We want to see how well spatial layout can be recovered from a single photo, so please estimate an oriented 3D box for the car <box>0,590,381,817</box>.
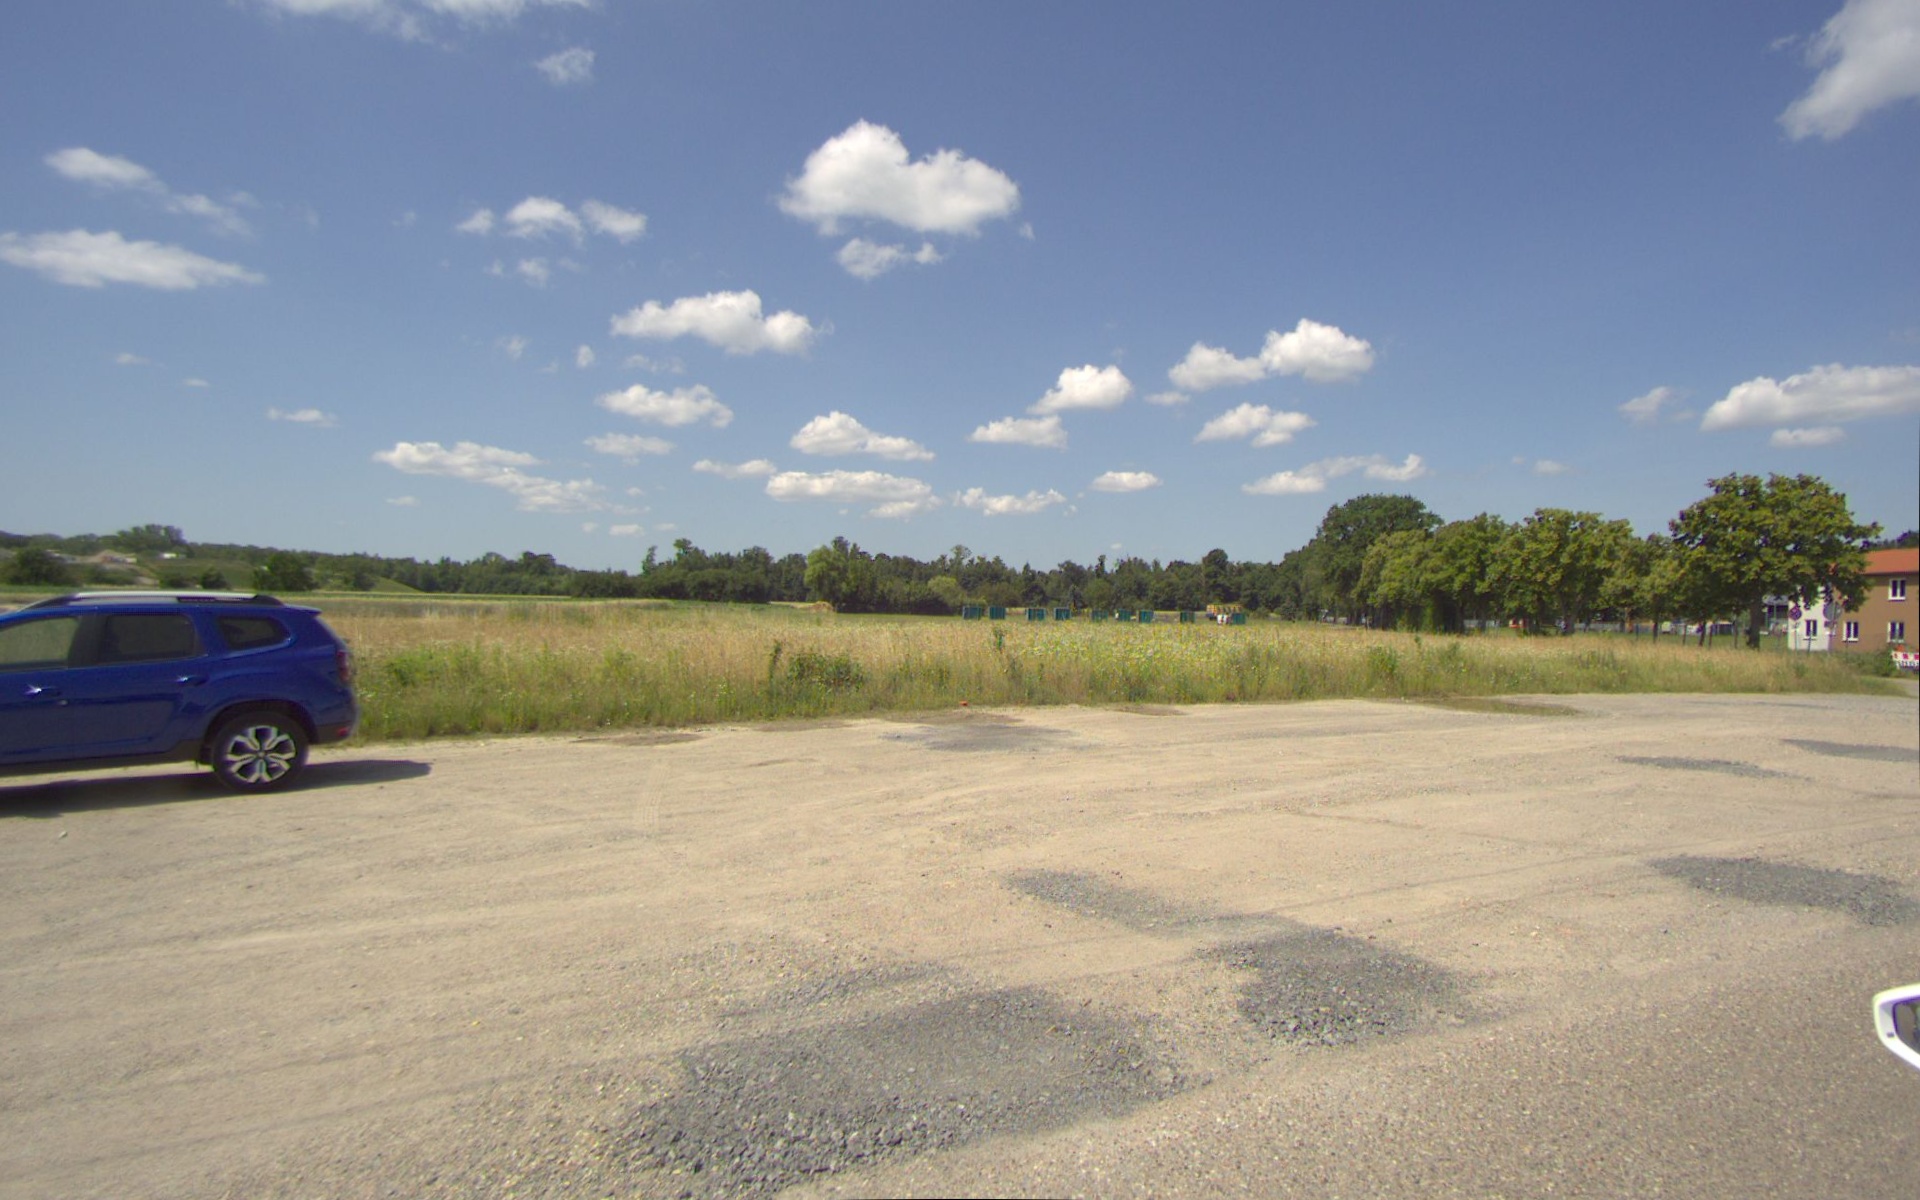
[{"bbox_3d":[-7.476,0.775,8.333,4.420,1.683,1.844,1,-1,-39],"label":"car"}]
